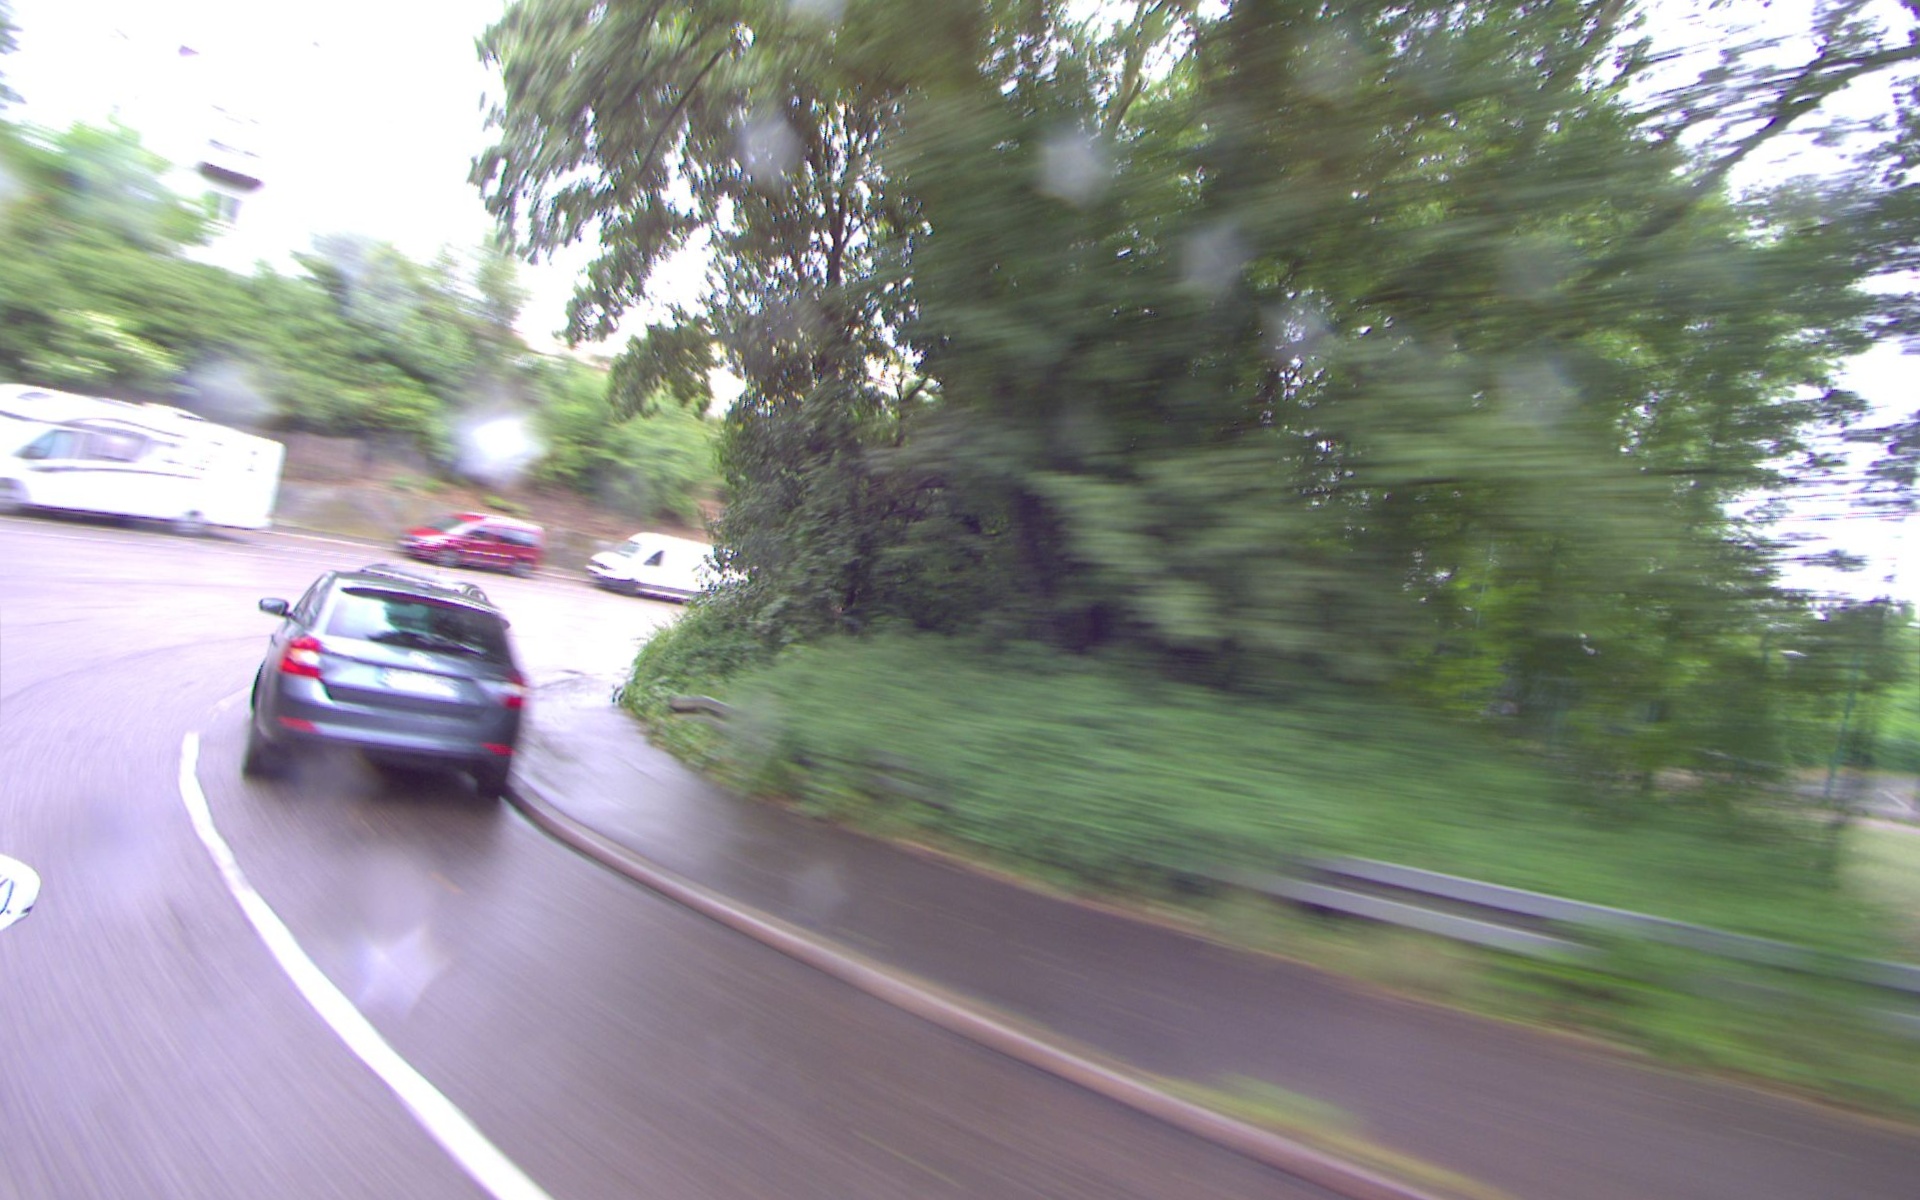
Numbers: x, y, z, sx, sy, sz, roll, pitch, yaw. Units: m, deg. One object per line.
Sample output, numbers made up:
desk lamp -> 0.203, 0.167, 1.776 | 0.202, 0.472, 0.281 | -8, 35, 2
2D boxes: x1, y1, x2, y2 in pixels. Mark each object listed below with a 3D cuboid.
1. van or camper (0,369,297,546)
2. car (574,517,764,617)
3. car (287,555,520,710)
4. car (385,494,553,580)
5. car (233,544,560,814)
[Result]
van or camper -> -19.989, -3.298, 23.744 | 2.161, 2.965, 7.667 | 13, 0, 10
car -> -11.882, -1.276, 41.712 | 2.296, 2.565, 7.096 | 15, 1, 42
car -> -6.938, 0.332, 12.972 | 1.668, 1.423, 3.715 | 12, -2, -17
car -> -16.884, -2.097, 34.903 | 1.762, 1.909, 4.925 | 13, 0, 27
car -> -4.699, 0.481, 8.208 | 1.642, 1.480, 3.996 | 13, -4, -34
